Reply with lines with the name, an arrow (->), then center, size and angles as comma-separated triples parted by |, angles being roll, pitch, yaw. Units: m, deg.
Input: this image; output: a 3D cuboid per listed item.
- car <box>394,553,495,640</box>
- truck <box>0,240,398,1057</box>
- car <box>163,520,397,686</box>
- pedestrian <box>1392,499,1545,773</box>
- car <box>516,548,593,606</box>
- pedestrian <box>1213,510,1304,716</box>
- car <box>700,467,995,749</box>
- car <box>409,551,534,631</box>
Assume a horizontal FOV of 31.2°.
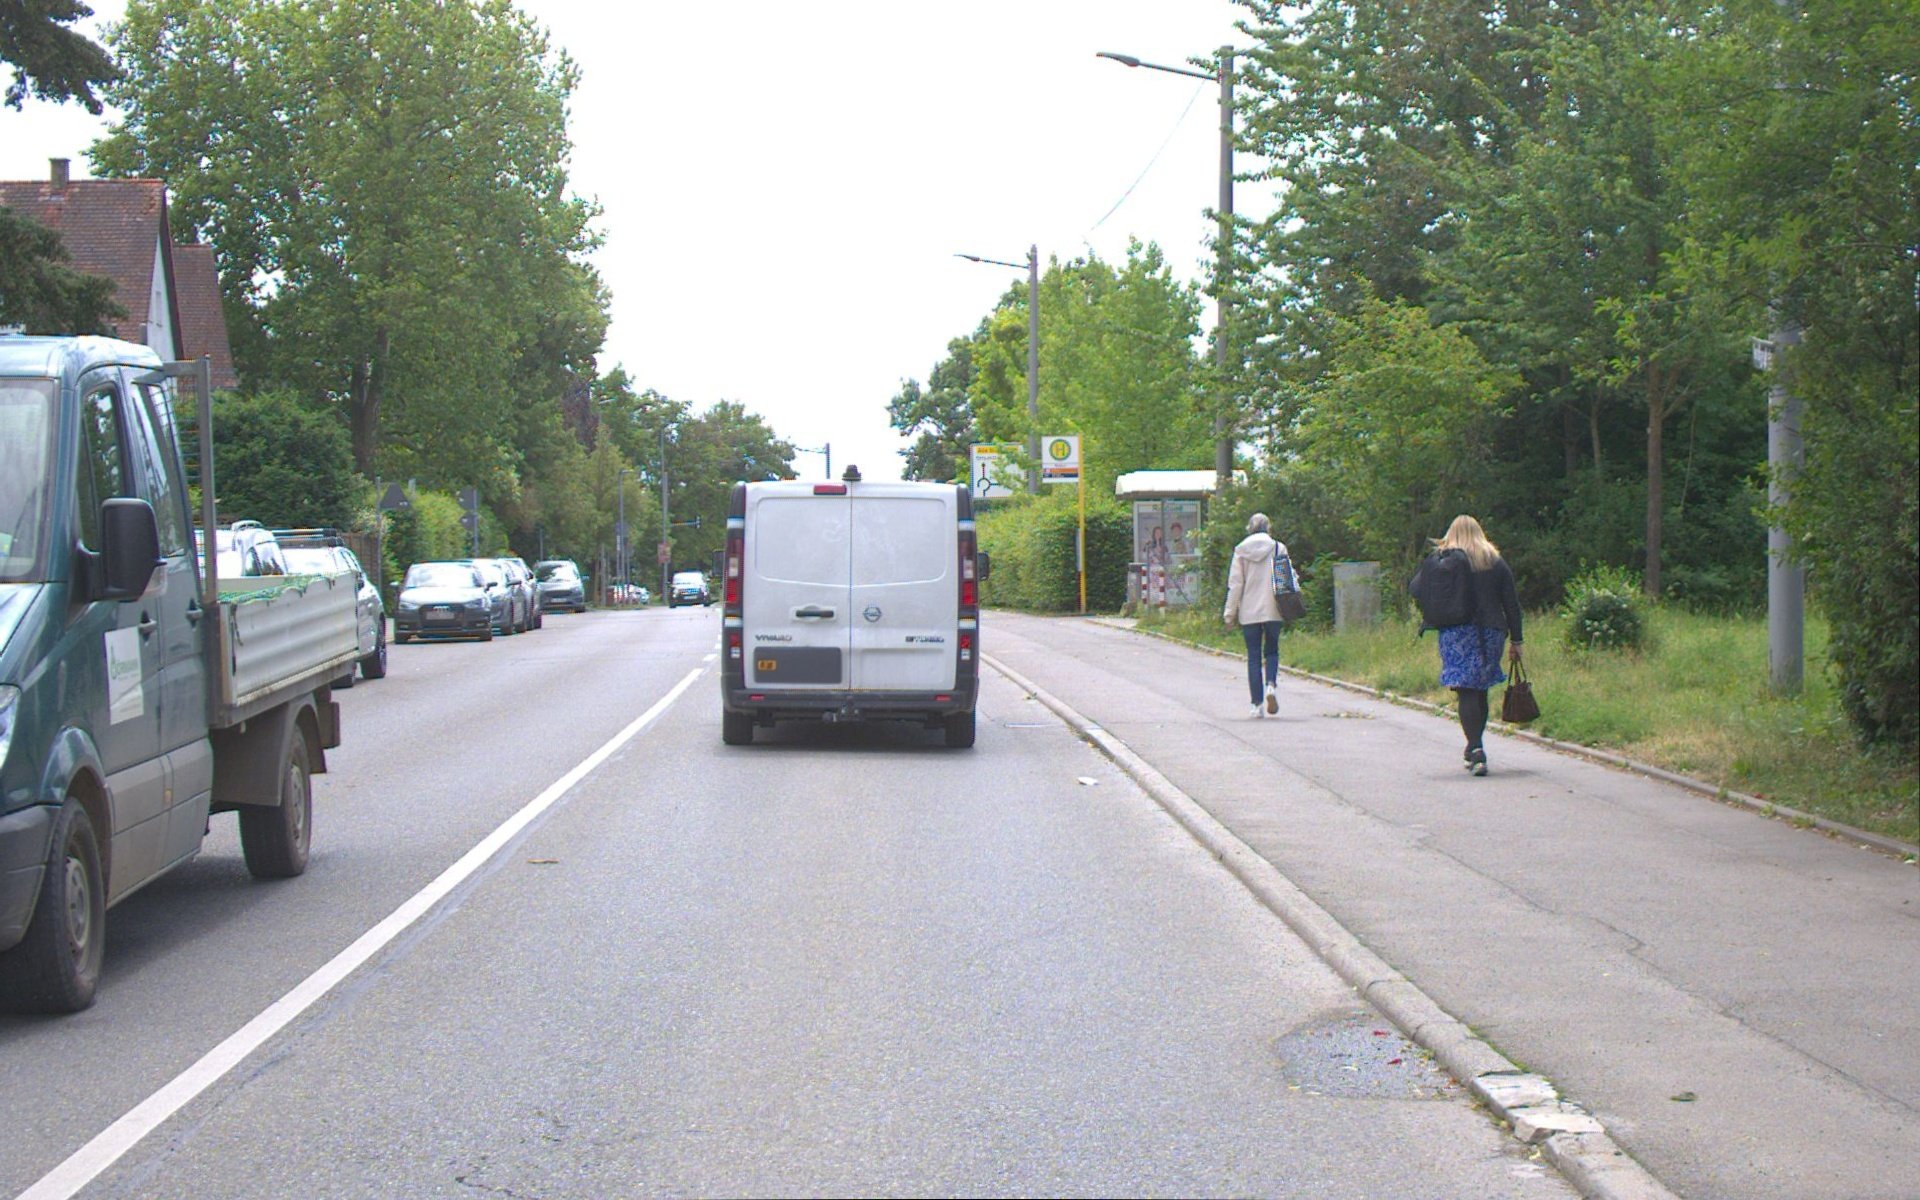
car -> -9.136, -0.093, 61.184 | 1.651, 1.422, 3.907 | -2, 1, -7
truck -> -3.855, 0.102, 13.389 | 2.189, 2.363, 6.905 | -2, 1, -1
car -> -7.906, -0.019, 40.381 | 1.985, 1.812, 4.708 | -1, 1, -2
pedestrian -> 3.151, 0.214, 21.364 | 0.840, 1.653, 0.766 | 1, 1, 3
car -> -13.042, -0.760, 110.320 | 2.131, 1.766, 4.466 | 1, 1, -11
pedestrian -> 2.434, 0.102, 28.077 | 0.686, 1.653, 0.690 | 1, 1, 3
car -> -0.813, 0.021, 26.503 | 2.034, 1.939, 4.994 | 1, 1, -1
car -> -9.352, -0.186, 66.098 | 1.867, 1.454, 4.489 | -1, 1, -2
